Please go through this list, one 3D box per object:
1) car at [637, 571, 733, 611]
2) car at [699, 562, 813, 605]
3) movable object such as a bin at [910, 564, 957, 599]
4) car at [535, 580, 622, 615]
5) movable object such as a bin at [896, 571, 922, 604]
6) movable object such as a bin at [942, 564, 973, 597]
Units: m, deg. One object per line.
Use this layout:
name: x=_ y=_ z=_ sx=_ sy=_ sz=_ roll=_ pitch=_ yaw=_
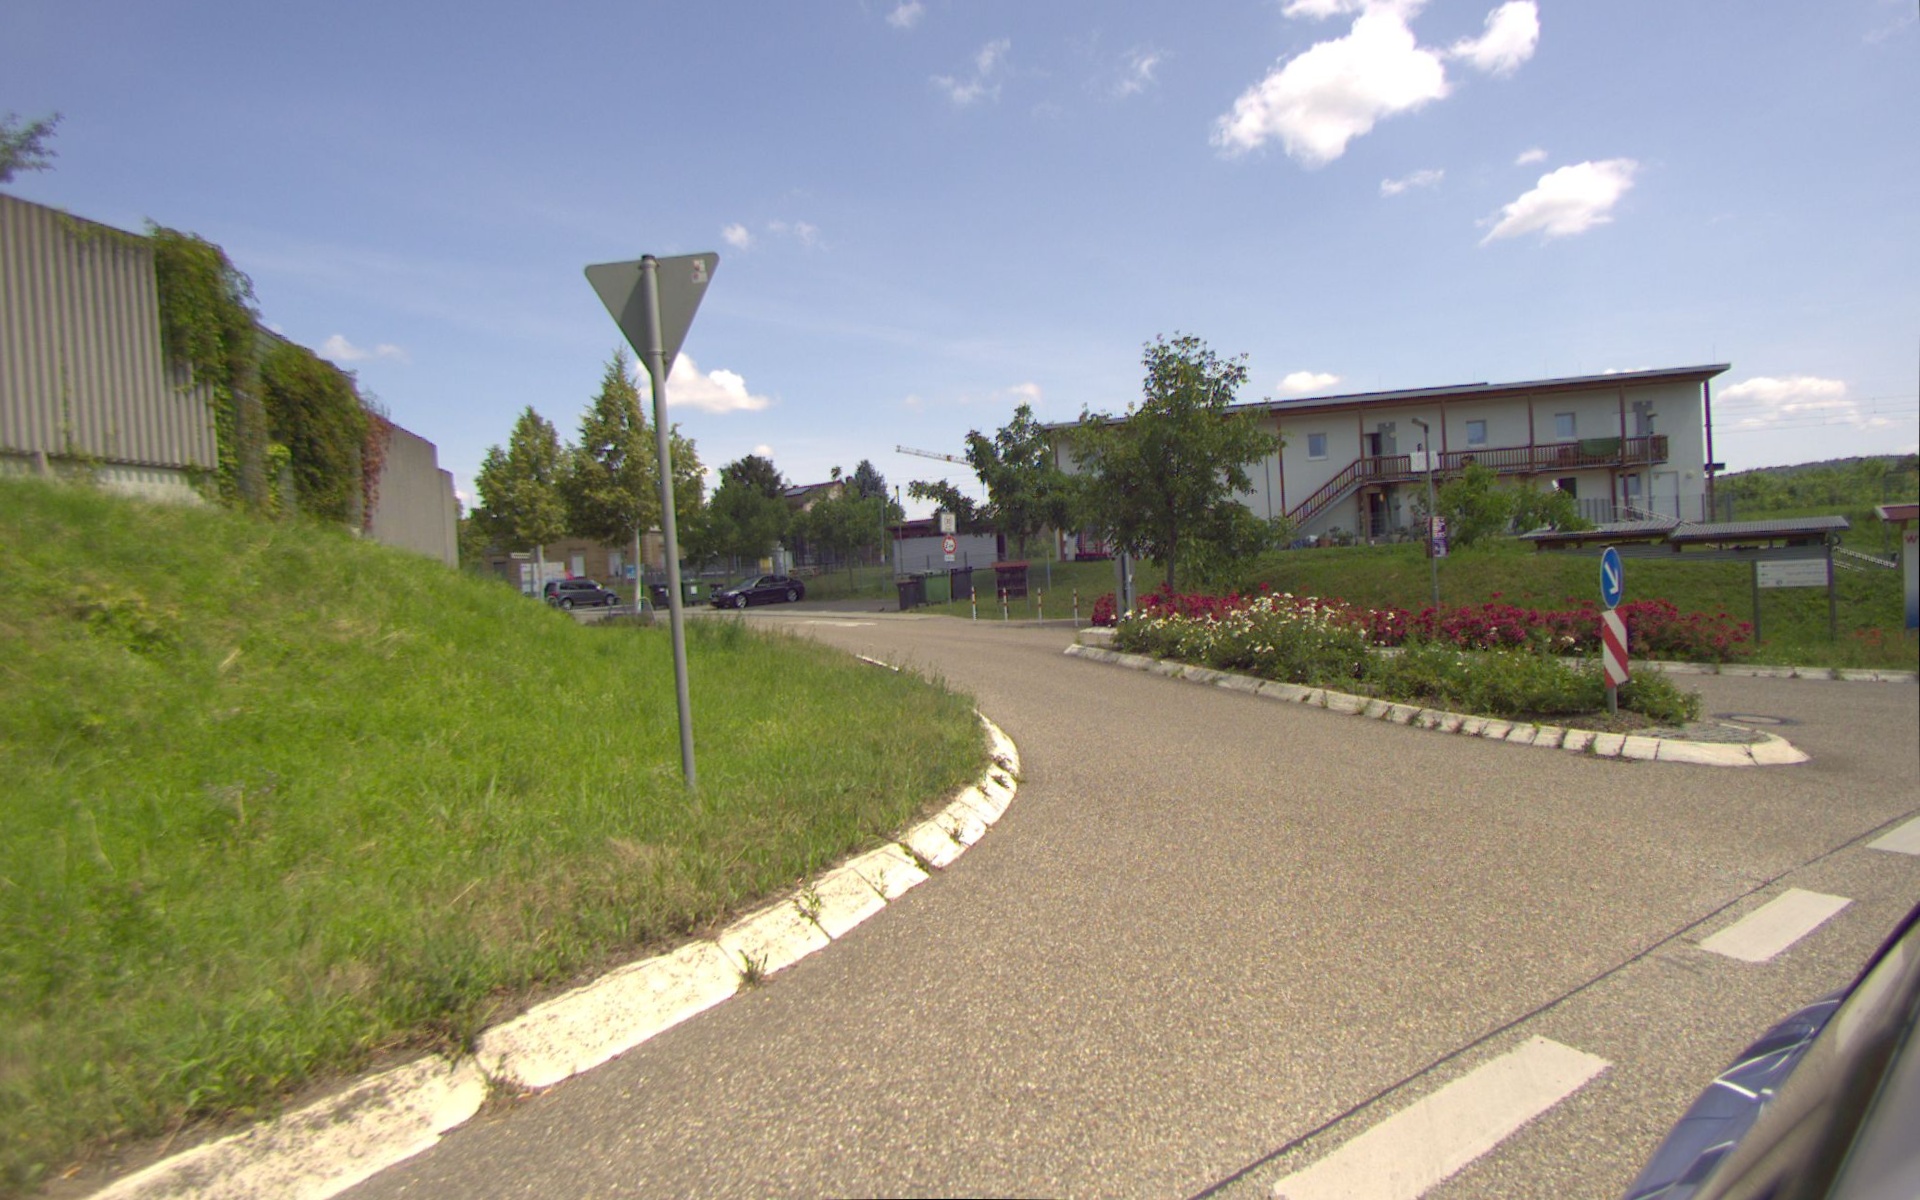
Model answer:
car: x=-13.799 y=-0.445 z=50.861 sx=1.993 sy=1.792 sz=4.161 roll=-6 pitch=-3 yaw=44
car: x=-9.550 y=-0.778 z=47.620 sx=1.992 sy=1.792 sz=4.982 roll=-6 pitch=-3 yaw=44
movable object such as a bin: x=-0.946 y=-0.663 z=36.189 sx=1.340 sy=1.117 sz=0.968 roll=-2 pitch=-3 yaw=-33
car: x=-21.757 y=-0.148 z=57.803 sx=1.993 sy=1.792 sz=4.161 roll=-6 pitch=-3 yaw=44
movable object such as a bin: x=-1.793 y=-0.437 z=35.636 sx=0.615 sy=1.095 sz=0.625 roll=-2 pitch=-3 yaw=-33
movable object such as a bin: x=-0.107 y=-0.717 z=36.970 sx=0.778 sy=1.132 sz=0.760 roll=-2 pitch=-3 yaw=-33
